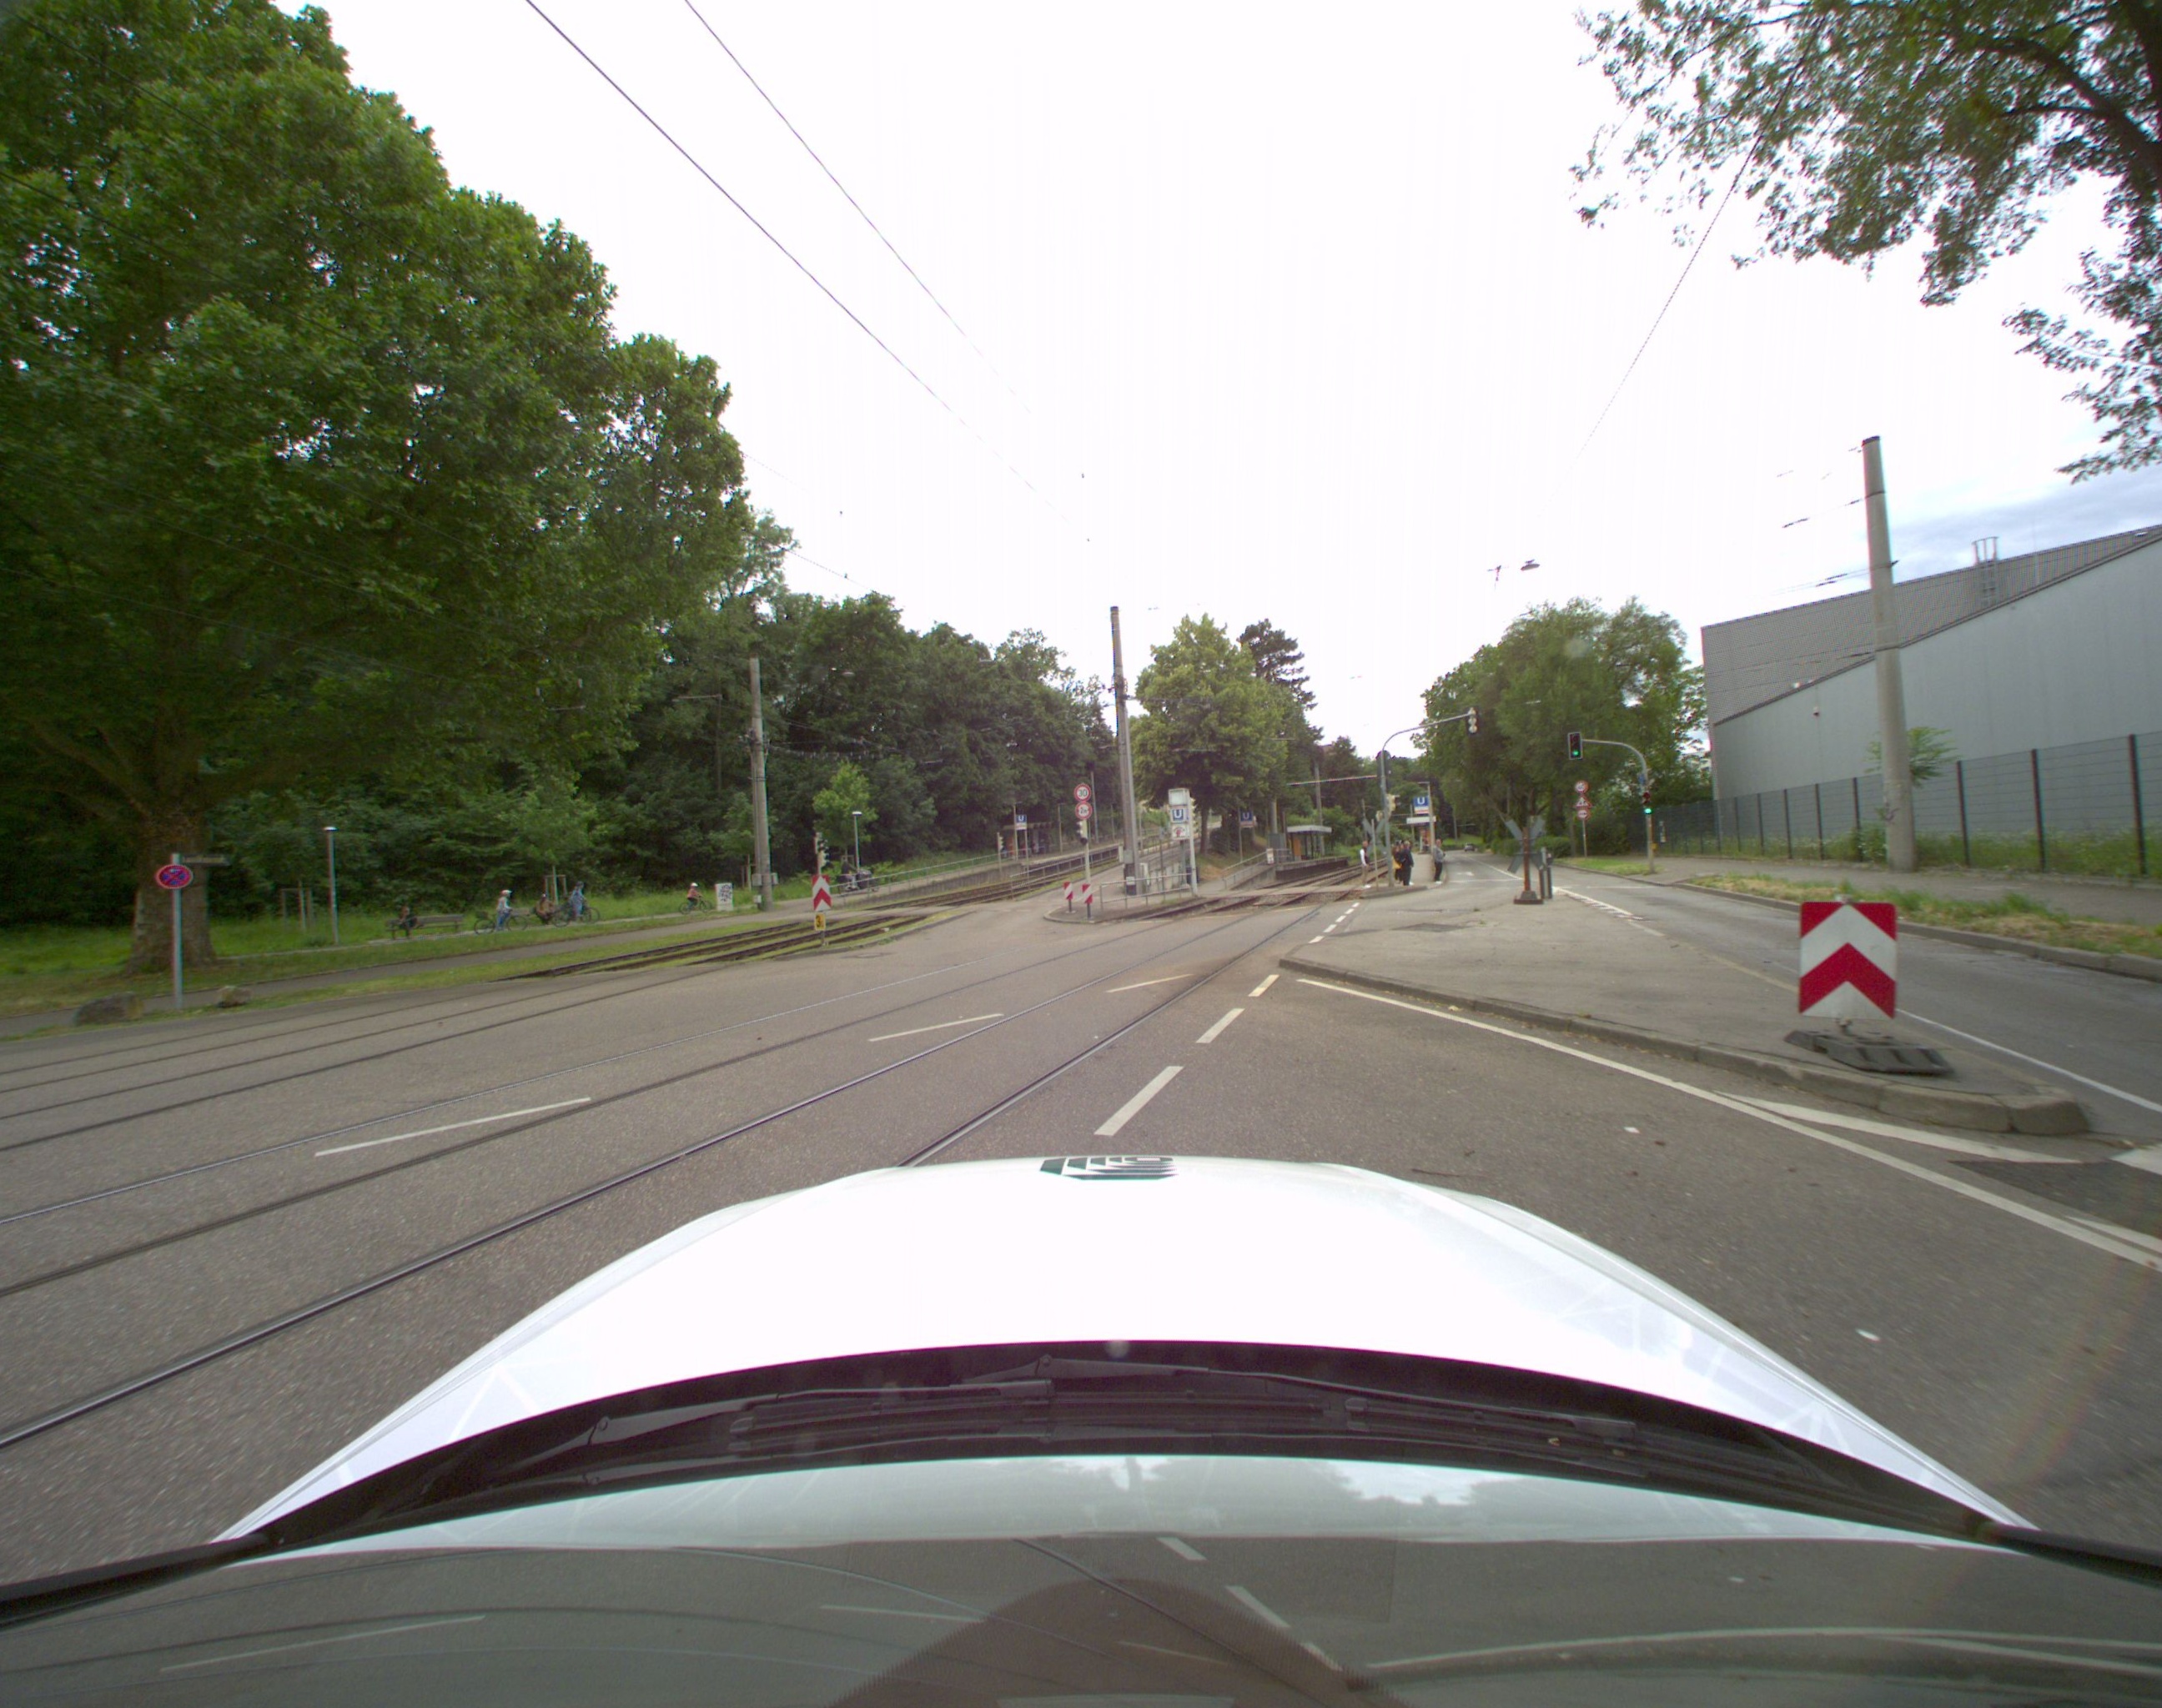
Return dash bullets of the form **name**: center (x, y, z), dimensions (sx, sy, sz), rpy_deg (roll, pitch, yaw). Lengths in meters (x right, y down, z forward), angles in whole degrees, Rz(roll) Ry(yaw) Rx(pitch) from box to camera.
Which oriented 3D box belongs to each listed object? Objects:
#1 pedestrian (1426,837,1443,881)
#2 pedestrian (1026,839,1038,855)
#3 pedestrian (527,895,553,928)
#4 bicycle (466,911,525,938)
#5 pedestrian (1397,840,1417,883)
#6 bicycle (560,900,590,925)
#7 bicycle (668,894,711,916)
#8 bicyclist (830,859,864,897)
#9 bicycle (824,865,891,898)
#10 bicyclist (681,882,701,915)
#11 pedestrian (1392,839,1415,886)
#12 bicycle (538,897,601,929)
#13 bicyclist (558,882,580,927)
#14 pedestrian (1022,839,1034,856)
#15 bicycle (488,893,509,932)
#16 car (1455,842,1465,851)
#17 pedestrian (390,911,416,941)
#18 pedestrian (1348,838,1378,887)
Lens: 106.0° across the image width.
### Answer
- **pedestrian**: center (14.174, 0.198, 32.634), dimensions (0.544, 1.758, 0.742), rpy_deg (-1, 0, 28)
- **pedestrian**: center (-4.113, -0.556, 68.179), dimensions (0.766, 1.326, 0.790), rpy_deg (-1, 0, 15)
- **pedestrian**: center (-21.350, 2.254, 32.129), dimensions (0.572, 1.235, 0.677), rpy_deg (-1, 0, 37)
- **bicycle**: center (-21.041, 2.517, 29.281), dimensions (1.661, 0.738, 0.450), rpy_deg (-4, 4, -39)
- **pedestrian**: center (12.690, 0.295, 31.689), dimensions (0.674, 1.665, 0.741), rpy_deg (-1, 0, 21)
- **bicycle**: center (-20.834, 2.399, 33.533), dimensions (1.724, 0.885, 0.626), rpy_deg (-1, 0, 43)
- **bicycle**: center (-16.625, 2.156, 34.586), dimensions (1.567, 0.738, 0.450), rpy_deg (-6, 6, -38)
- **bicyclist**: center (-11.455, 1.168, 39.905), dimensions (0.726, 1.710, 1.301), rpy_deg (1, 5, 38)
- **bicycle**: center (-11.053, 1.335, 40.433), dimensions (0.726, 1.289, 3.369), rpy_deg (1, 5, 38)
- **bicyclist**: center (-16.581, 1.873, 34.606), dimensions (0.584, 1.300, 0.450), rpy_deg (-6, 5, -38)
- **pedestrian**: center (11.708, 0.300, 29.566), dimensions (0.728, 1.665, 0.685), rpy_deg (-1, 0, 25)
- **bicycle**: center (-19.652, 2.248, 31.307), dimensions (1.954, 1.041, 0.470), rpy_deg (-3, 3, -38)
- **bicyclist**: center (-19.672, 1.936, 31.286), dimensions (0.627, 1.674, 0.470), rpy_deg (-3, 3, -38)
- **pedestrian**: center (-4.376, -0.525, 67.135), dimensions (0.766, 1.326, 0.790), rpy_deg (-1, 2, 15)
- **bicycle**: center (-20.977, 2.090, 29.319), dimensions (0.519, 1.329, 0.450), rpy_deg (-4, 3, -39)
- **car**: center (77.074, -1.531, 165.672), dimensions (1.728, 1.598, 4.022), rpy_deg (-1, 0, 23)
- **pedestrian**: center (-24.125, 2.549, 28.984), dimensions (0.525, 0.989, 0.624), rpy_deg (-1, 0, 38)
- **pedestrian**: center (10.549, 0.312, 30.475), dimensions (0.803, 1.821, 0.667), rpy_deg (-1, 0, -14)
